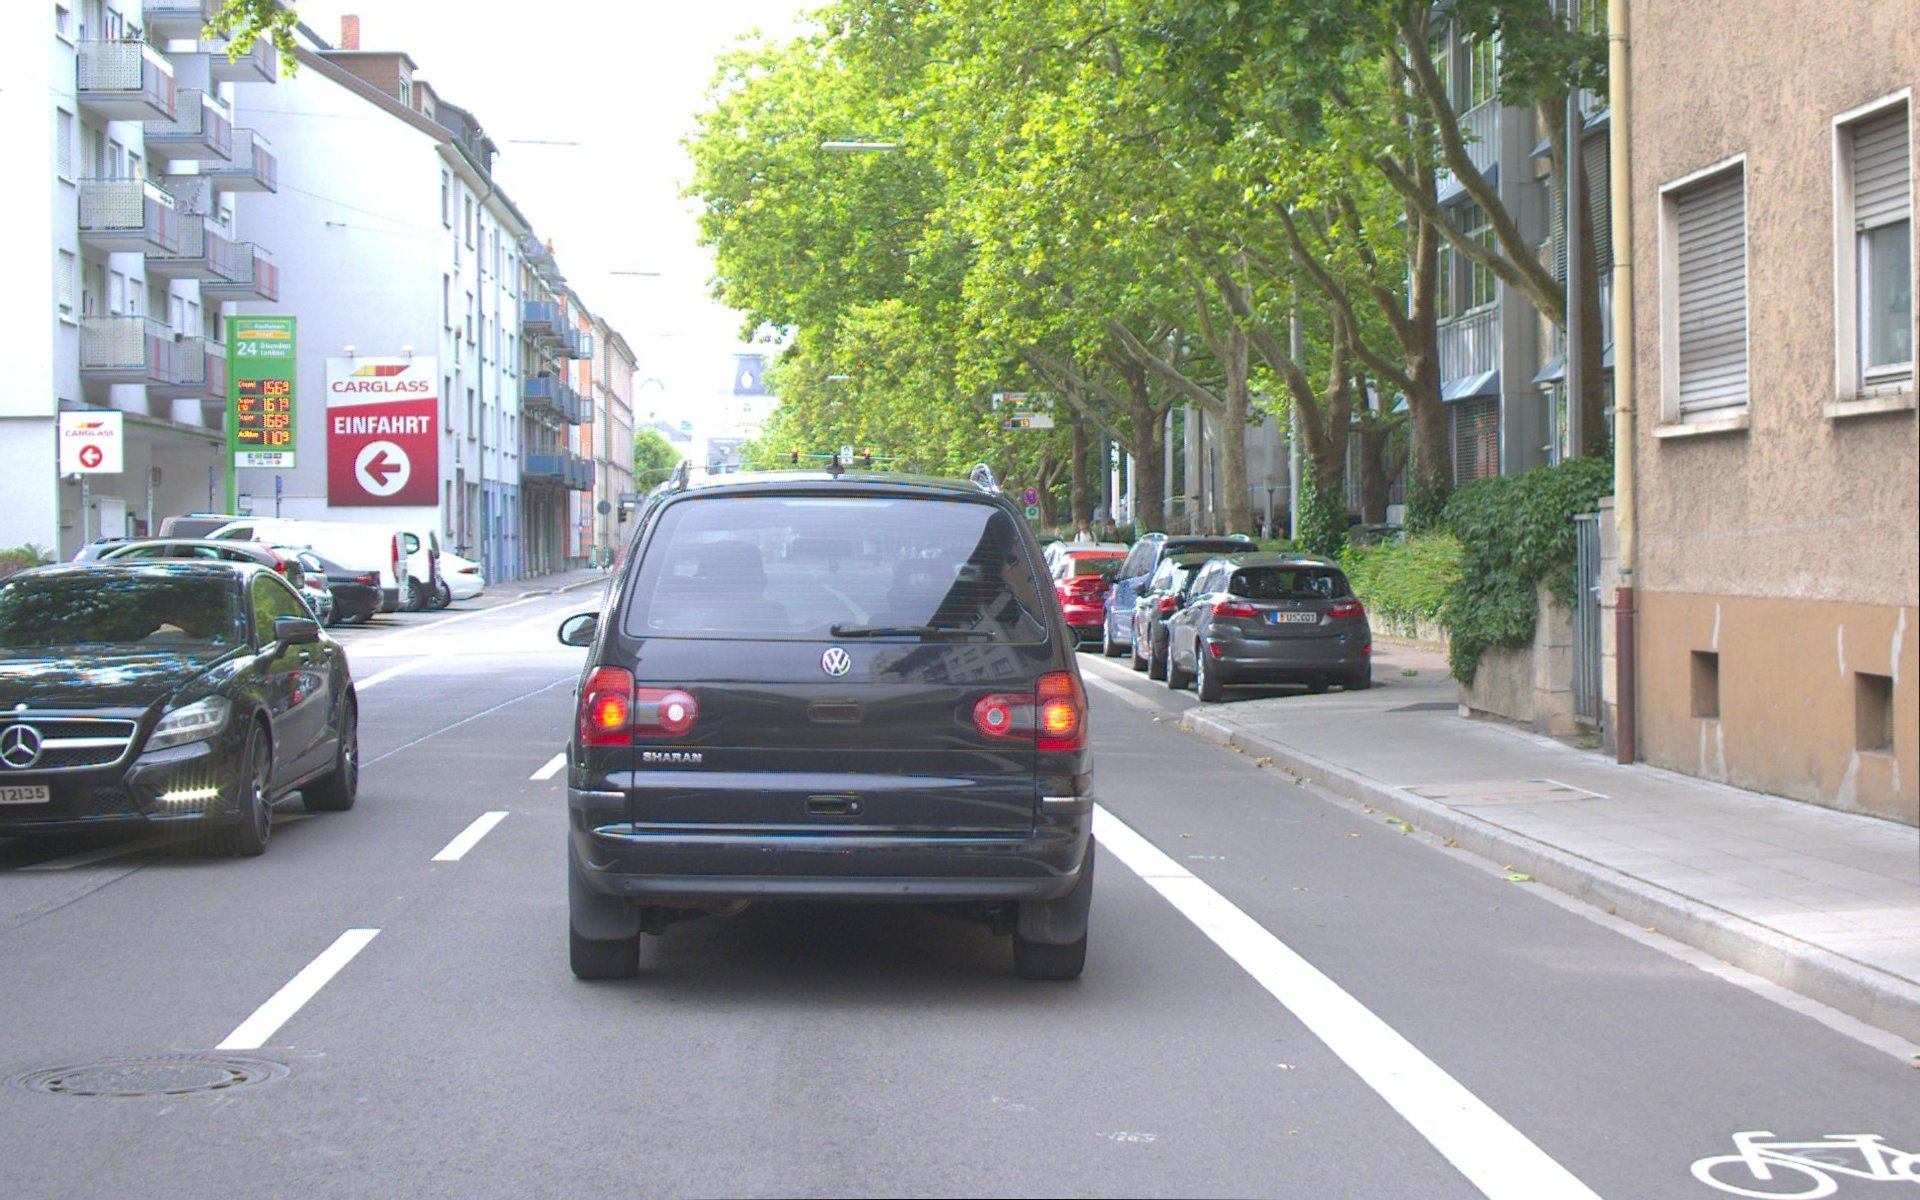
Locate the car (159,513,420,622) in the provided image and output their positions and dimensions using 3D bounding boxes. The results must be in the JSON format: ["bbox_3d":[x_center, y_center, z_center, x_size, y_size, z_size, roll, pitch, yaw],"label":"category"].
[{"bbox_3d":[-12.595,-0.622,64.782,4.526,1.872,2.047,2,1,-2],"label":"car"}]

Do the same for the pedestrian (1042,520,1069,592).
[{"bbox_3d":[2.270,-1.047,81.882,0.587,1.696,0.508,1,2,-2],"label":"pedestrian"}]

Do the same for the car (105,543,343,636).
[{"bbox_3d":[-12.386,-0.184,57.998,3.681,1.422,1.754,2,1,-4],"label":"car"}]

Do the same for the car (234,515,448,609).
[{"bbox_3d":[-13.254,-0.815,73.826,4.306,1.863,1.824,2,1,-4],"label":"car"}]

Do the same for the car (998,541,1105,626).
[{"bbox_3d":[1.593,-0.309,60.767,1.621,1.381,4.000,2,1,-2],"label":"car"}]

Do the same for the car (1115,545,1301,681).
[{"bbox_3d":[2.837,0.115,40.045,1.657,1.417,3.948,-1,2,-3],"label":"car"}]

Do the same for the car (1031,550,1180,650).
[{"bbox_3d":[2.064,-0.030,49.803,1.675,1.389,4.462,0,1,-4],"label":"car"}]

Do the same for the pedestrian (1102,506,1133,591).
[{"bbox_3d":[3.751,-1.228,81.705,0.643,1.968,0.692,1,2,-2],"label":"pedestrian"}]

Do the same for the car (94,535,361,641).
[{"bbox_3d":[-11.875,-0.210,55.883,3.940,1.564,1.753,2,1,0],"label":"car"}]

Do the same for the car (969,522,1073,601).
[{"bbox_3d":[1.142,-0.746,65.824,1.629,1.465,4.318,0,1,-4],"label":"car"}]

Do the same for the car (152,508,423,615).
[{"bbox_3d":[-13.118,-0.757,67.275,4.915,1.897,2.000,2,1,-3],"label":"car"}]

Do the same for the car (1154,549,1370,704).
[{"bbox_3d":[3.049,0.230,35.352,1.657,1.417,3.867,-1,2,-3],"label":"car"}]

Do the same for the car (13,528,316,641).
[{"bbox_3d":[-12.296,-0.255,53.316,4.256,1.600,1.968,1,2,-2],"label":"car"}]

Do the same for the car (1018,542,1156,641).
[{"bbox_3d":[2.004,-0.166,55.551,1.727,1.511,4.872,1,1,-4],"label":"car"}]

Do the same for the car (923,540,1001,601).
[{"bbox_3d":[0.025,-0.747,84.474,1.675,1.389,4.462,2,1,-3],"label":"car"}]

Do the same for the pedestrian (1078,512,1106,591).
[{"bbox_3d":[3.140,-1.156,81.862,0.587,1.832,0.692,1,2,-2],"label":"pedestrian"}]

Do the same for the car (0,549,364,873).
[{"bbox_3d":[-4.220,0.457,17.438,1.810,1.403,4.609,-1,1,-3],"label":"car"}]

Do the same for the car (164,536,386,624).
[{"bbox_3d":[-12.325,-0.376,62.005,3.681,1.439,1.754,2,1,-3],"label":"car"}]

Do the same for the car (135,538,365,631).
[{"bbox_3d":[-12.359,-0.282,60.013,3.681,1.480,1.754,2,1,-4],"label":"car"}]

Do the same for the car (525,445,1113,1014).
[{"bbox_3d":[-0.555,0.381,12.550,1.812,1.760,3.738,0,1,-4],"label":"car"}]

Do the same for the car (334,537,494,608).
[{"bbox_3d":[-12.091,-0.609,76.277,3.342,1.491,1.596,1,0,-4],"label":"car"}]

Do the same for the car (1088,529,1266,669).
[{"bbox_3d":[2.784,-0.056,45.051,1.657,1.645,4.421,2,2,-5],"label":"car"}]
